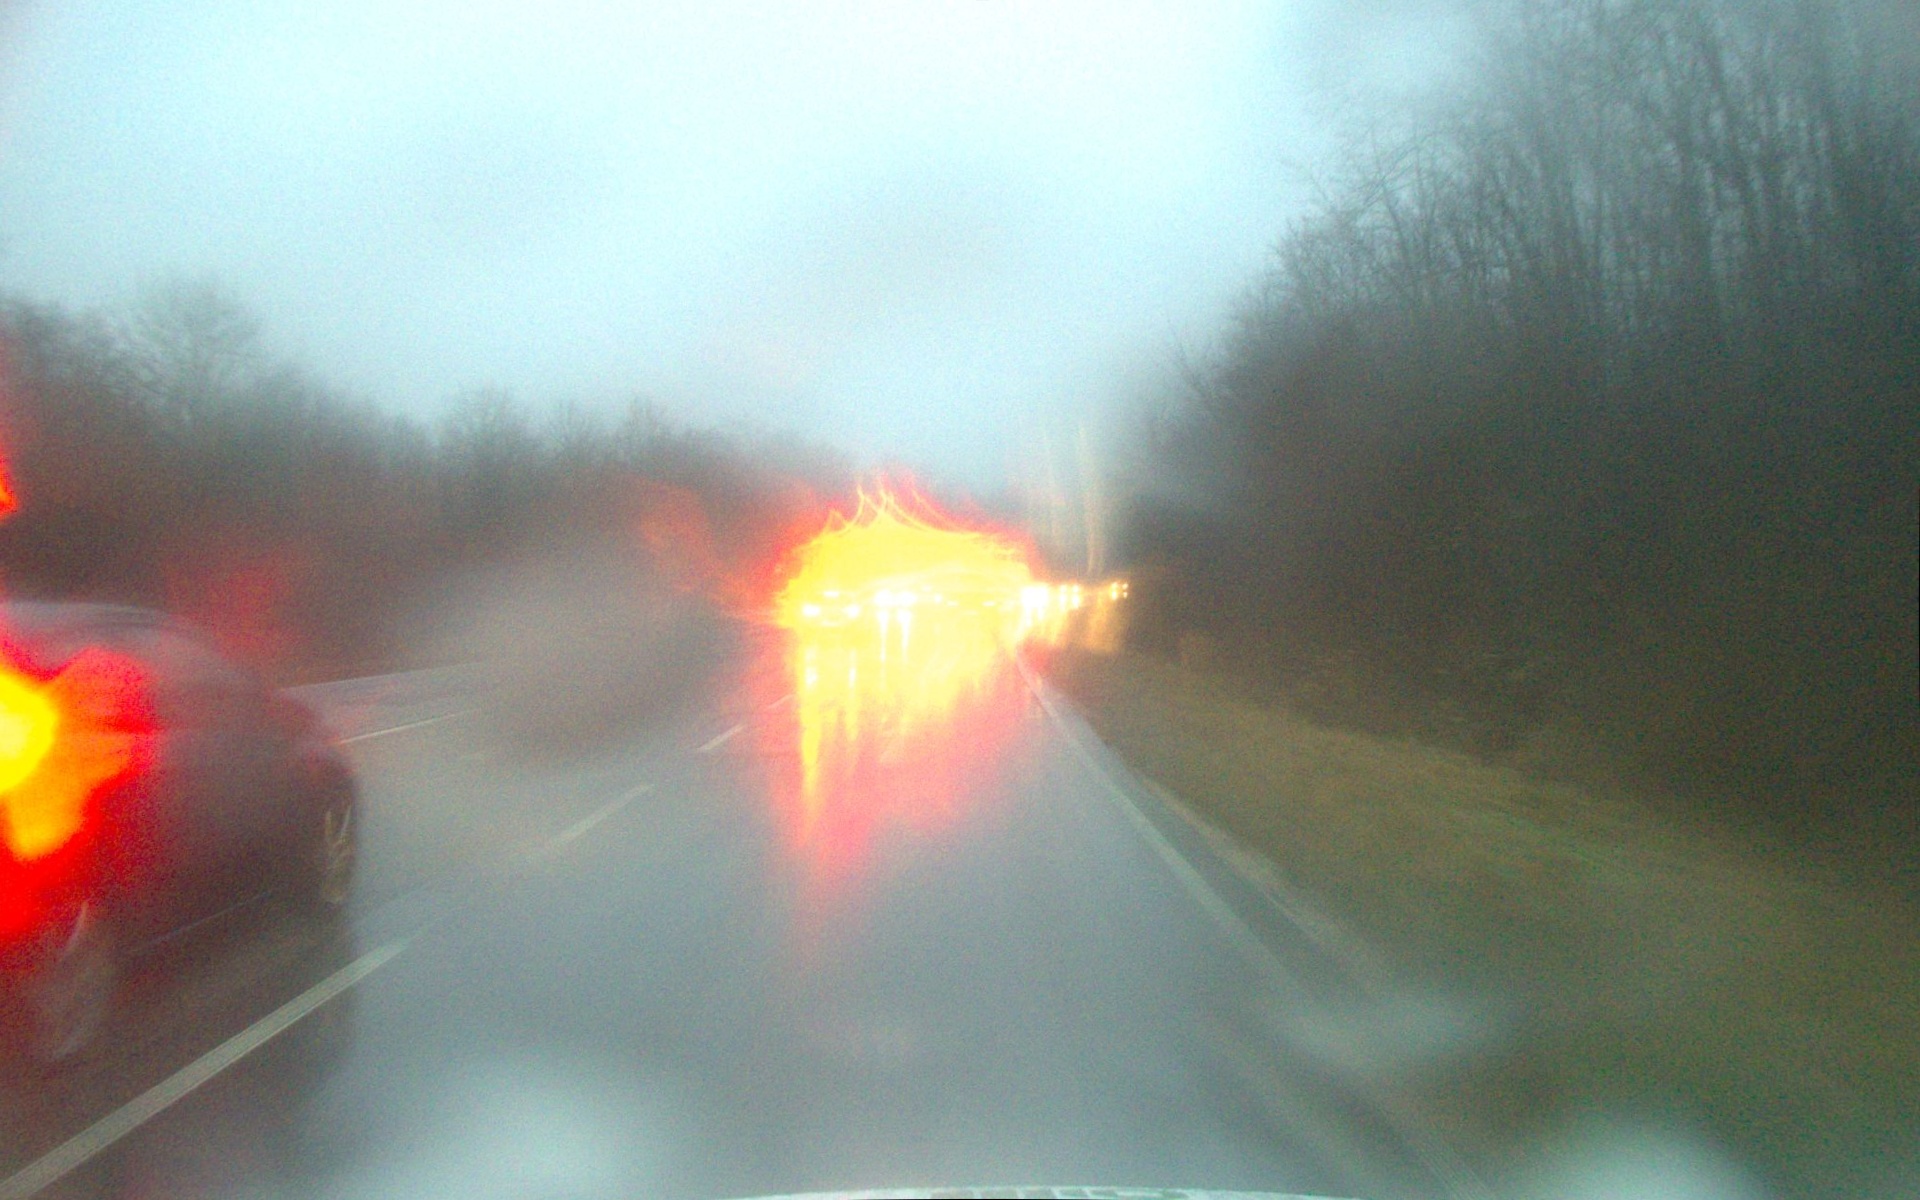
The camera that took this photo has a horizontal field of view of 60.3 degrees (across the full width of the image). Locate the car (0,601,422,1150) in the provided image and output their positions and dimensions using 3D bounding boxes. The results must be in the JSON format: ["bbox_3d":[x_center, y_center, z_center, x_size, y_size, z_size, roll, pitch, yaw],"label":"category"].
[{"bbox_3d":[-3.463,0.756,6.229,1.599,1.446,4.170,1,0,-2],"label":"car"}]

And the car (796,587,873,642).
[{"bbox_3d":[-3.748,0.401,50.080,1.964,1.583,4.517,1,0,0],"label":"car"}]

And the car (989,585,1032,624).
[{"bbox_3d":[2.338,0.187,75.495,1.643,1.704,4.101,-1,1,6],"label":"car"}]

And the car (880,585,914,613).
[{"bbox_3d":[-3.623,-0.081,95.781,1.611,1.583,4.382,0,0,2],"label":"car"}]

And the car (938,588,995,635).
[{"bbox_3d":[0.247,0.336,52.939,1.643,1.414,4.100,-1,1,3],"label":"car"}]

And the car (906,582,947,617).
[{"bbox_3d":[-1.646,-0.031,82.093,1.677,1.655,4.220,1,1,3],"label":"car"}]
